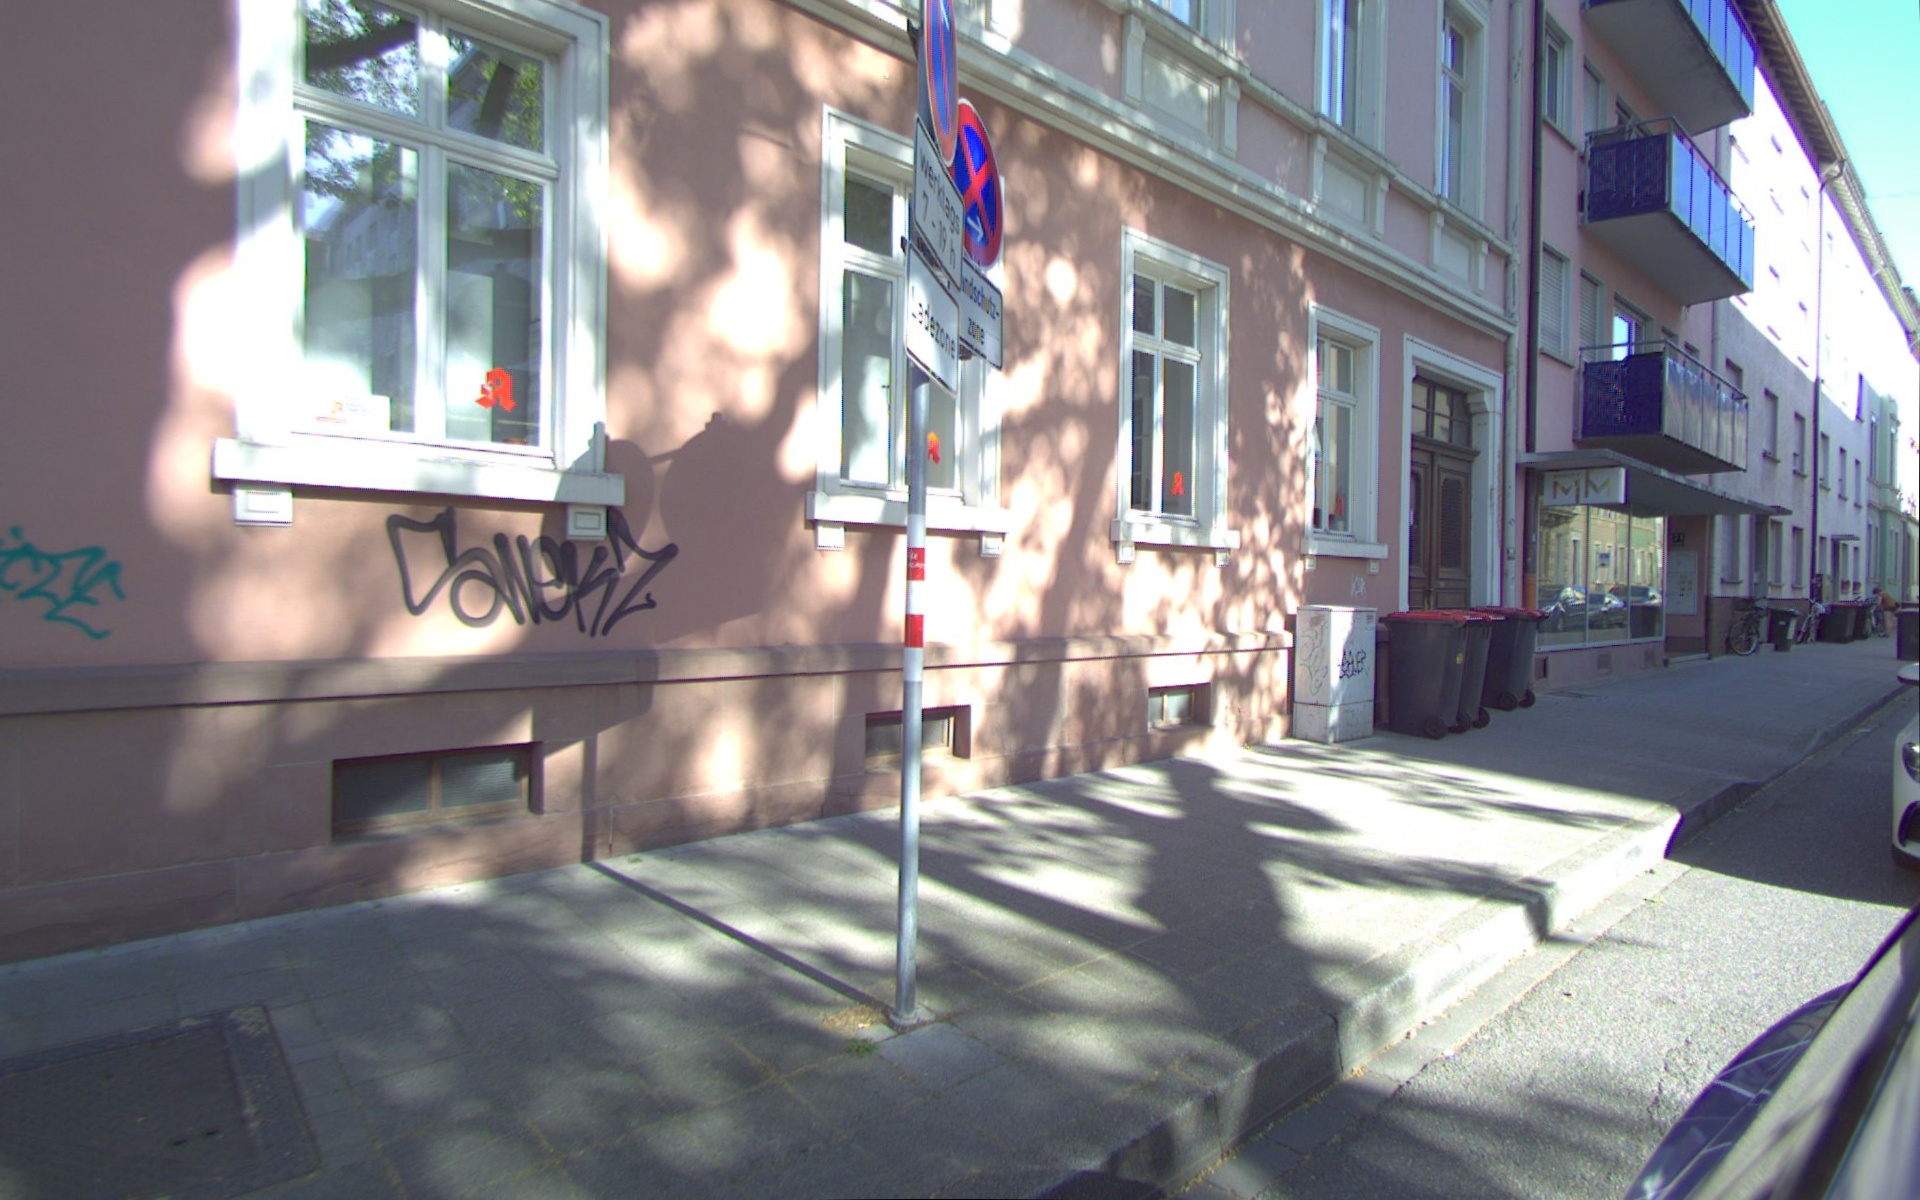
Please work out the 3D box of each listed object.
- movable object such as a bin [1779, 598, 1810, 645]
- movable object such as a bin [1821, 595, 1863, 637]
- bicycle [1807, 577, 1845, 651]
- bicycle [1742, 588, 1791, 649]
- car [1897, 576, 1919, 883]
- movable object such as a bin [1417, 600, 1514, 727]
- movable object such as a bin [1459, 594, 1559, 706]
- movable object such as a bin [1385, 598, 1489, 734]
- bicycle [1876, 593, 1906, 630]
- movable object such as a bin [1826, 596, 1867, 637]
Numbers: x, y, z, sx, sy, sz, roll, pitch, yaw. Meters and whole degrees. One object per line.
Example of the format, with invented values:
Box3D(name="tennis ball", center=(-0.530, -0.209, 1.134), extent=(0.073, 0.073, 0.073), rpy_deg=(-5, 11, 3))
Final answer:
Box3D(name="movable object such as a bin", center=(17.814, 0.457, 21.610), extent=(0.297, 0.951, 0.415), rpy_deg=(0, 3, -43))
Box3D(name="movable object such as a bin", center=(22.850, 0.403, 26.214), extent=(0.537, 1.014, 0.716), rpy_deg=(0, 4, -43))
Box3D(name="bicycle", center=(21.421, 0.326, 25.009), extent=(2.070, 1.757, 0.402), rpy_deg=(0, 1, -41))
Box3D(name="bicycle", center=(15.942, 0.346, 19.984), extent=(1.989, 1.165, 0.402), rpy_deg=(0, 1, -41))
Box3D(name="car", center=(6.848, 0.623, 5.691), extent=(4.483, 1.475, 1.860), rpy_deg=(0, 1, -41))
Box3D(name="movable object such as a bin", center=(4.631, 0.561, 9.273), extent=(0.601, 1.071, 0.570), rpy_deg=(0, 4, -43))
Box3D(name="movable object such as a bin", center=(5.838, 0.510, 10.767), extent=(0.608, 1.097, 0.717), rpy_deg=(0, 4, -43))
Box3D(name="movable object such as a bin", center=(4.172, 0.550, 8.848), extent=(0.643, 1.097, 0.570), rpy_deg=(0, 4, -43))
Box3D(name="bicycle", center=(28.995, 0.341, 31.511), extent=(1.899, 1.110, 0.489), rpy_deg=(0, 1, -41))
Box3D(name="movable object such as a bin", center=(23.310, 0.419, 26.611), extent=(0.537, 1.014, 0.716), rpy_deg=(0, 4, -43))
